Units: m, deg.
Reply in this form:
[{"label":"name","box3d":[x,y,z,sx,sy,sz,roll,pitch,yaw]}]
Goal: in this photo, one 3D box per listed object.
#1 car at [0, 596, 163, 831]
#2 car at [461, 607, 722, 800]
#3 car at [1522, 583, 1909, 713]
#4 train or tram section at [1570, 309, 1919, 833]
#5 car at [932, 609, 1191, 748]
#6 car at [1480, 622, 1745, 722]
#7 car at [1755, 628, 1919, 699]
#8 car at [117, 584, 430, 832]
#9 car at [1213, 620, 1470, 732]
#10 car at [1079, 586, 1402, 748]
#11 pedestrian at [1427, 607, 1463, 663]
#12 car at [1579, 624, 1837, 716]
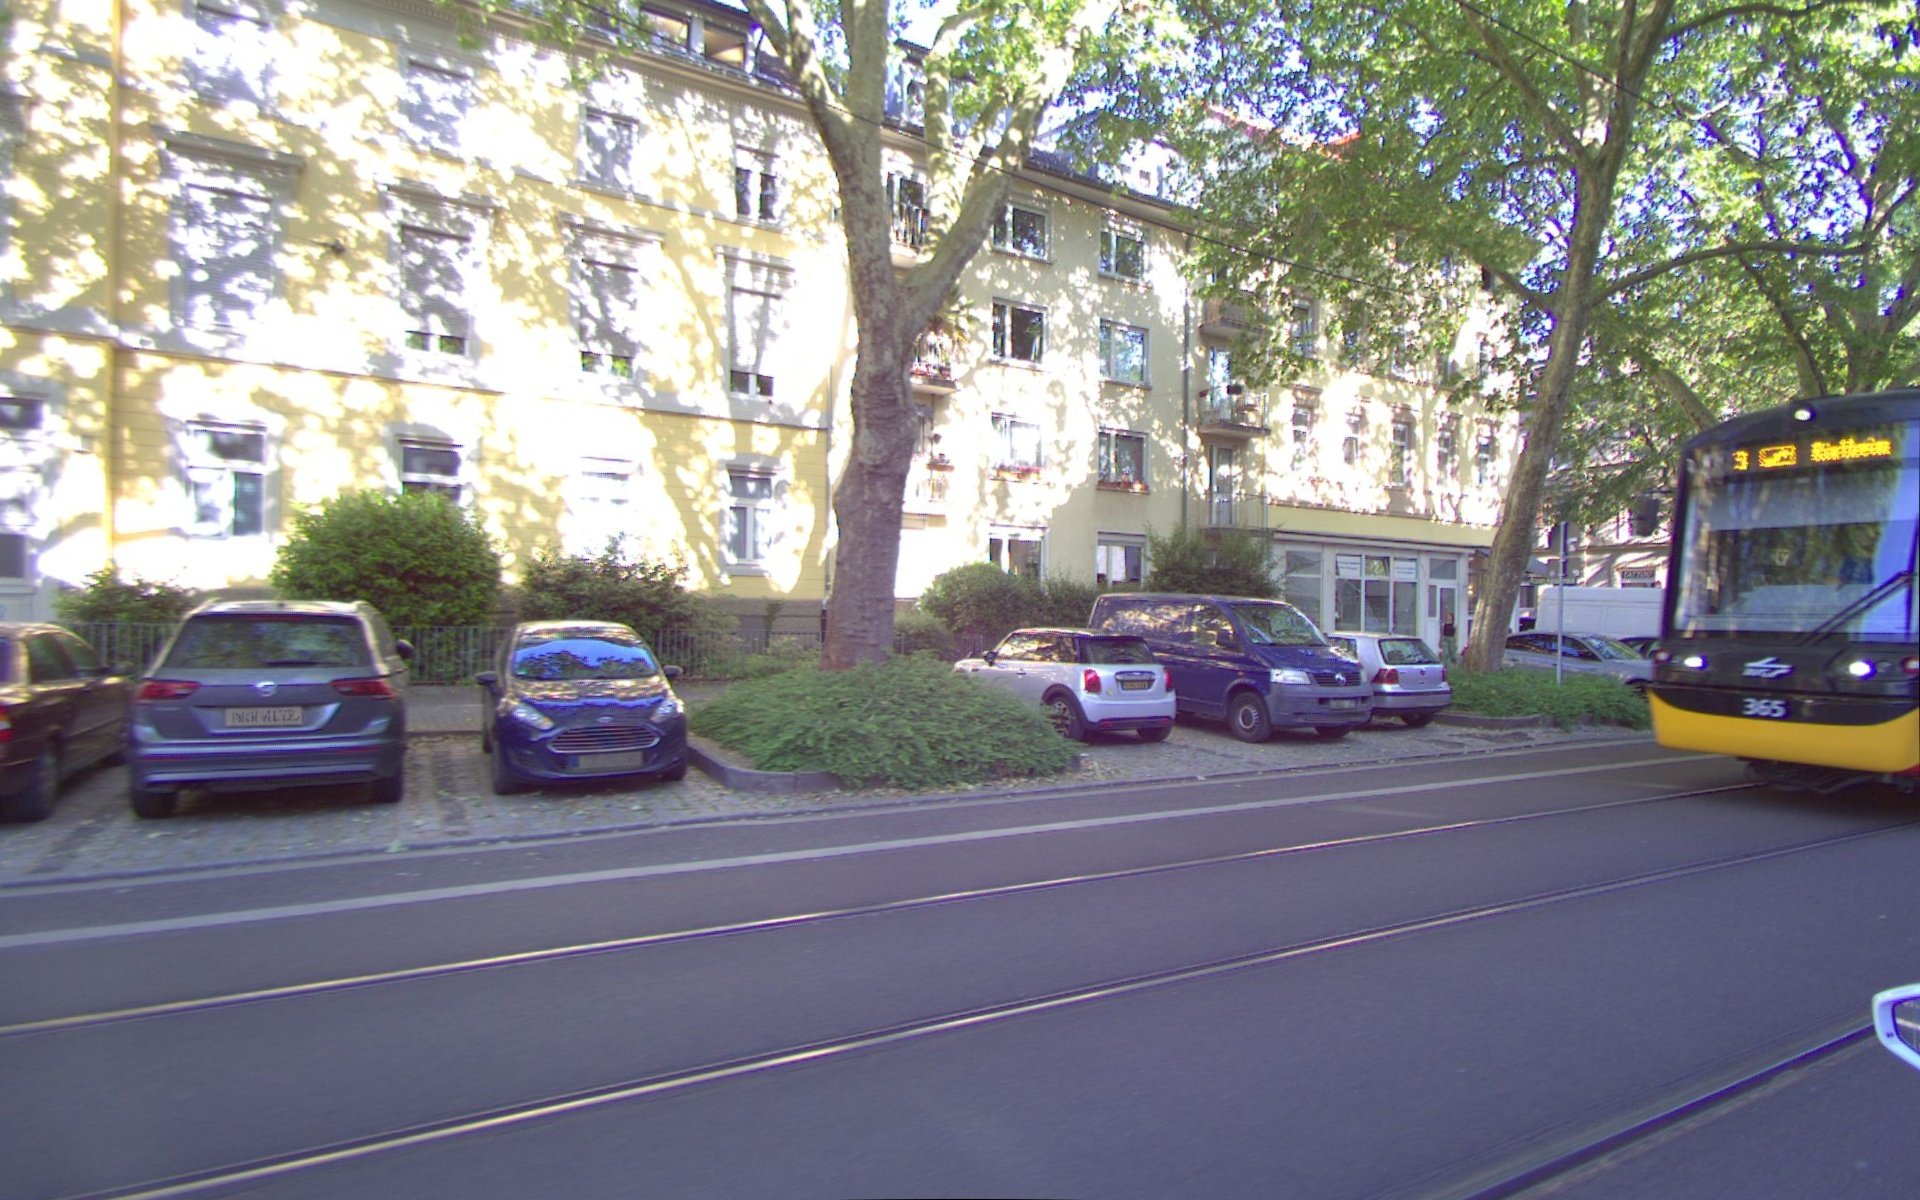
[{"label":"car","box3d":[-7.952,0.752,8.096,1.728,1.461,3.902,2,1,-29]},{"label":"car","box3d":[-3.924,0.872,10.273,1.798,1.440,3.899,2,1,-31]},{"label":"car","box3d":[16.801,0.921,22.918,2.429,2.441,6.595,2,1,-30]},{"label":"train or tram section","box3d":[11.777,-0.049,11.195,12.562,3.730,2.723,2,-1,-29]},{"label":"car","box3d":[1.255,0.967,13.912,1.726,1.518,3.717,2,1,-29]},{"label":"car","box3d":[12.271,1.279,19.171,1.656,1.518,3.903,2,1,-28]},{"label":"car","box3d":[22.770,1.570,25.329,1.659,1.518,3.898,2,1,-32]},{"label":"car","box3d":[-5.913,0.742,9.075,1.857,1.648,3.976,2,1,-29]},{"label":"car","box3d":[6.070,1.142,16.391,1.618,1.449,3.717,2,1,-29]},{"label":"car","box3d":[3.942,0.838,15.034,1.955,1.949,4.656,2,1,-28]},{"label":"pedestrian","box3d":[13.520,0.975,27.991,0.623,1.518,0.655,1,1,-39]},{"label":"car","box3d":[15.224,1.357,20.646,1.659,1.518,3.898,2,1,-32]}]
